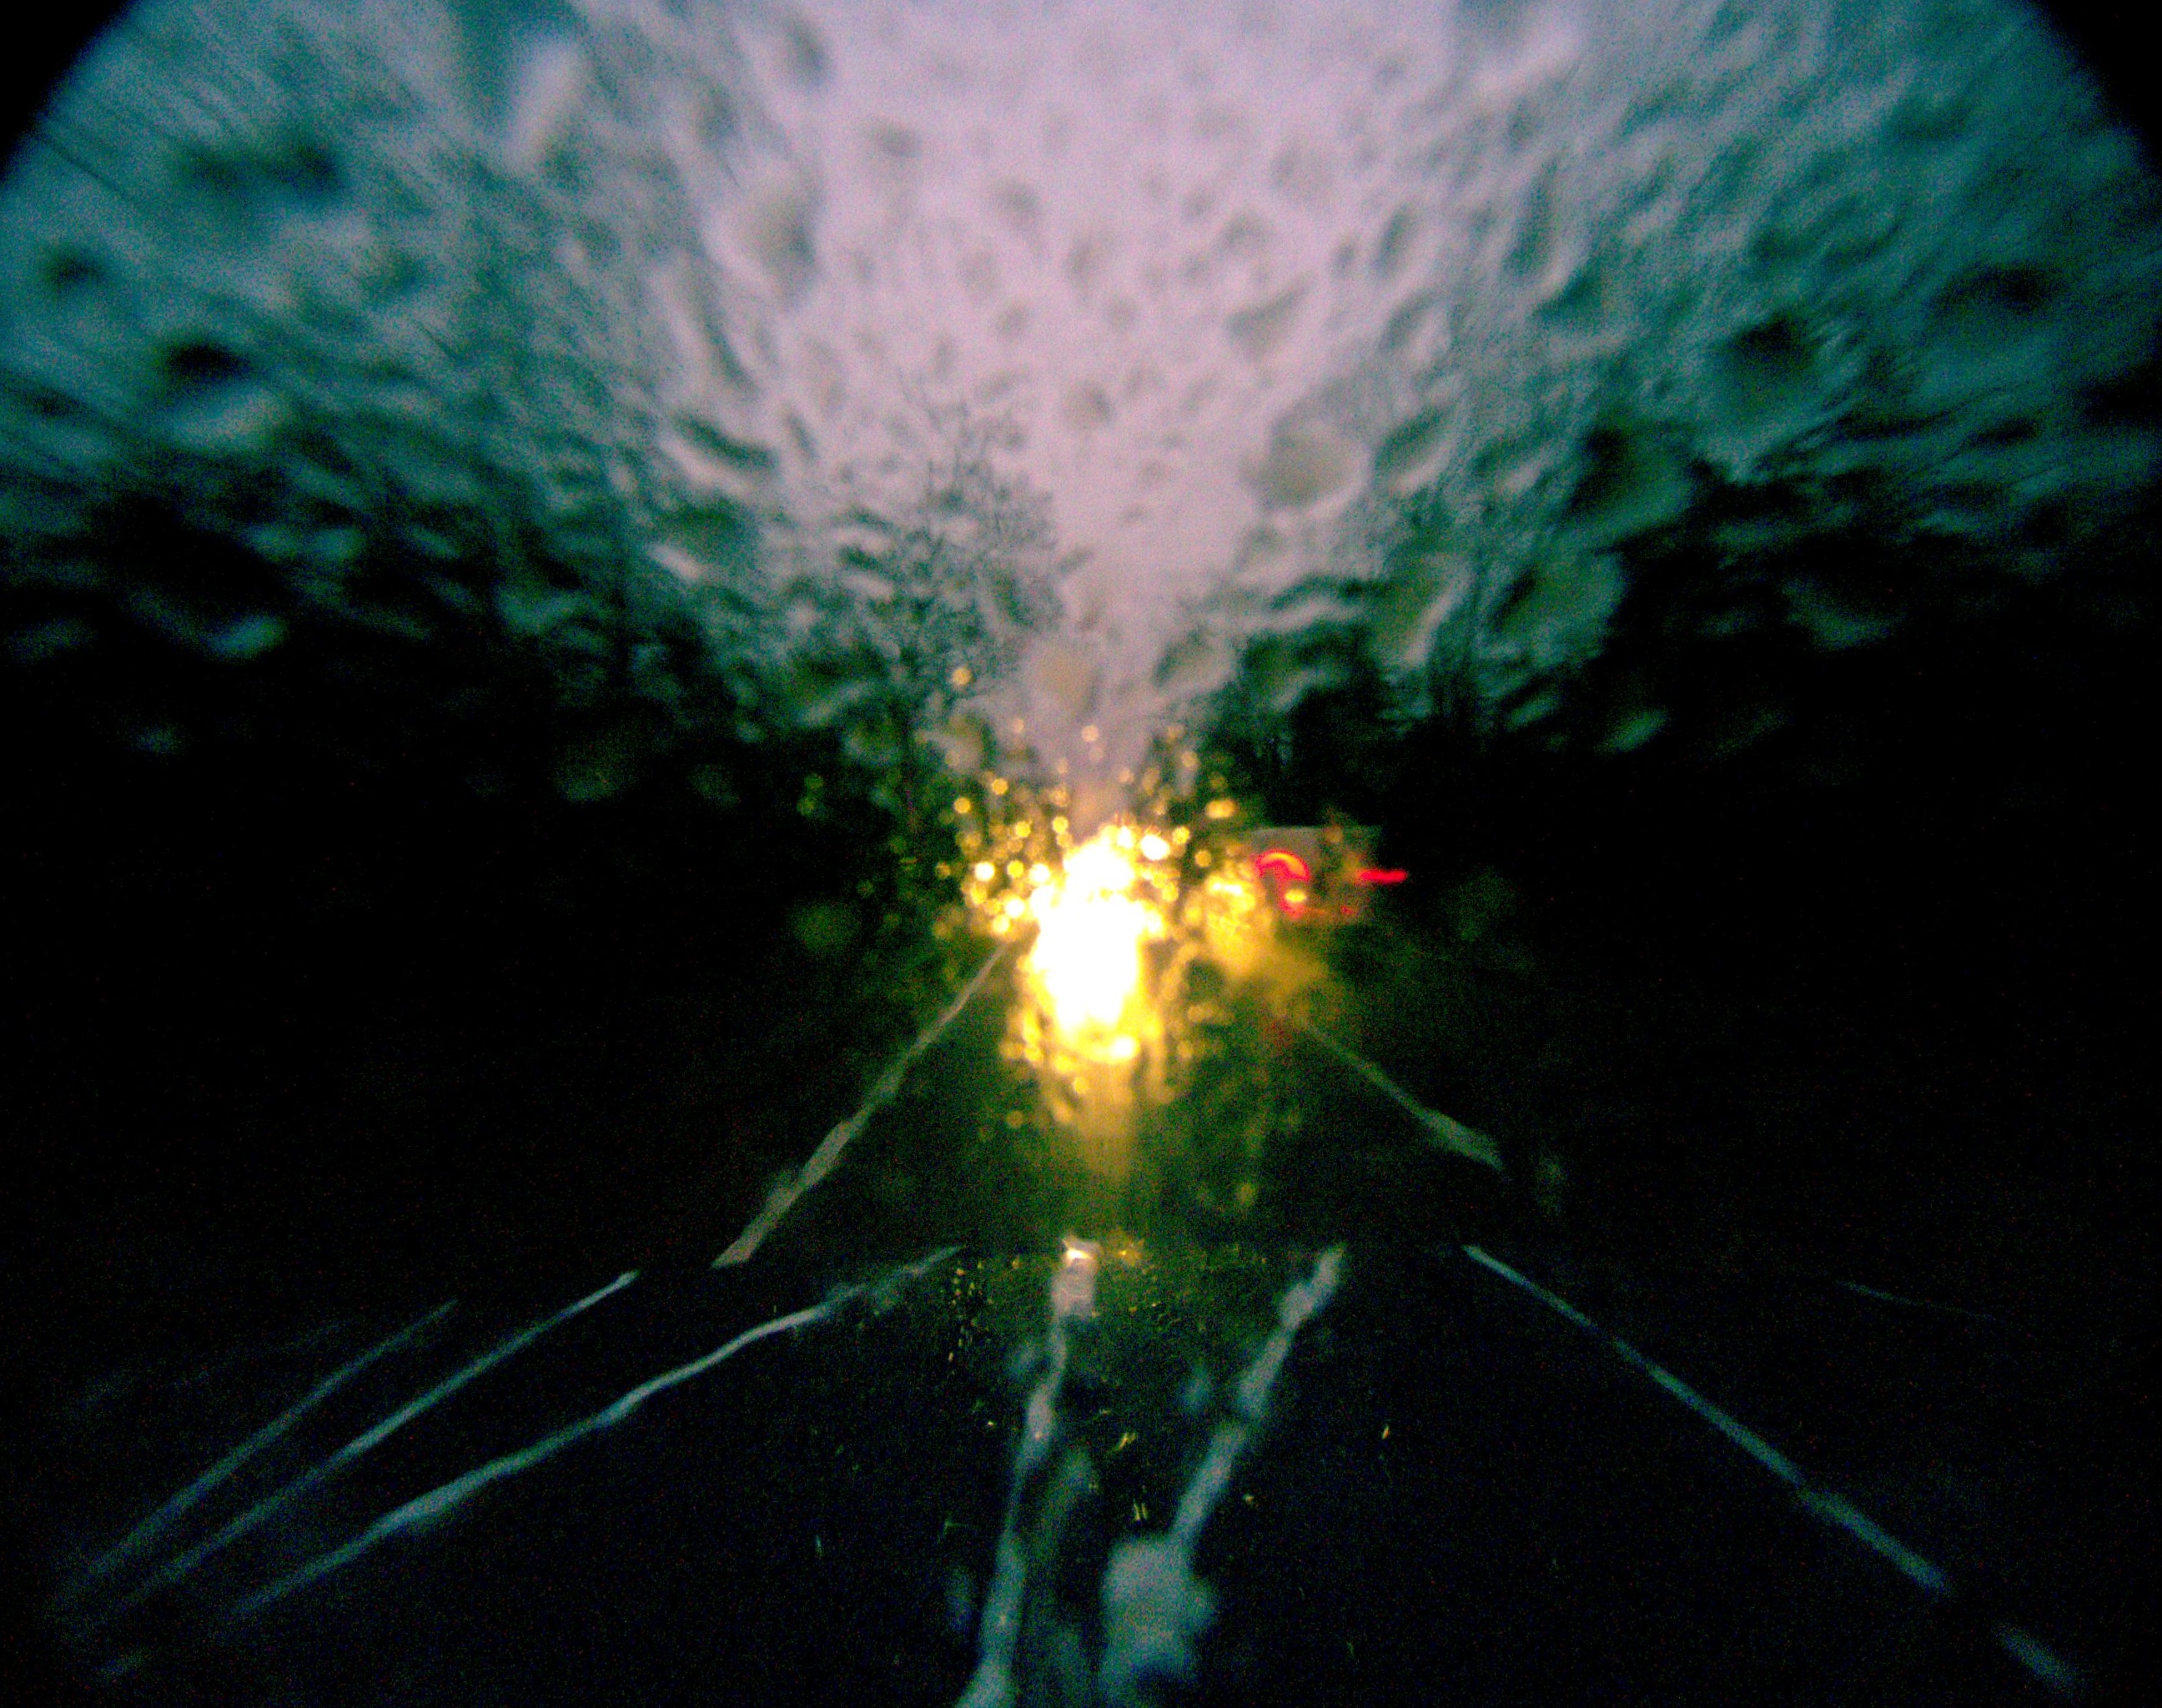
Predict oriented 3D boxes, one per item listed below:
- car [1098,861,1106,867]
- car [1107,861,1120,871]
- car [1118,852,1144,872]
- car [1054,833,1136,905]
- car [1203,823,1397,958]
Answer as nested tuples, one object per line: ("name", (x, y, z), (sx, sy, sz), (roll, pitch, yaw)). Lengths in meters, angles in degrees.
("car", (5.024, 2.298, 180.518), (1.695, 1.411, 4.000), (0, -1, 0))
("car", (4.919, 1.810, 116.608), (1.873, 1.414, 4.387), (-1, 0, 0))
("car", (4.214, 0.658, 64.152), (2.080, 1.607, 4.152), (-1, 0, 2))
("car", (0.521, 0.463, 27.417), (2.542, 2.213, 6.169), (-2, 0, 1))
("car", (3.649, 0.533, 13.760), (2.012, 1.977, 5.031), (1, 0, 0))
